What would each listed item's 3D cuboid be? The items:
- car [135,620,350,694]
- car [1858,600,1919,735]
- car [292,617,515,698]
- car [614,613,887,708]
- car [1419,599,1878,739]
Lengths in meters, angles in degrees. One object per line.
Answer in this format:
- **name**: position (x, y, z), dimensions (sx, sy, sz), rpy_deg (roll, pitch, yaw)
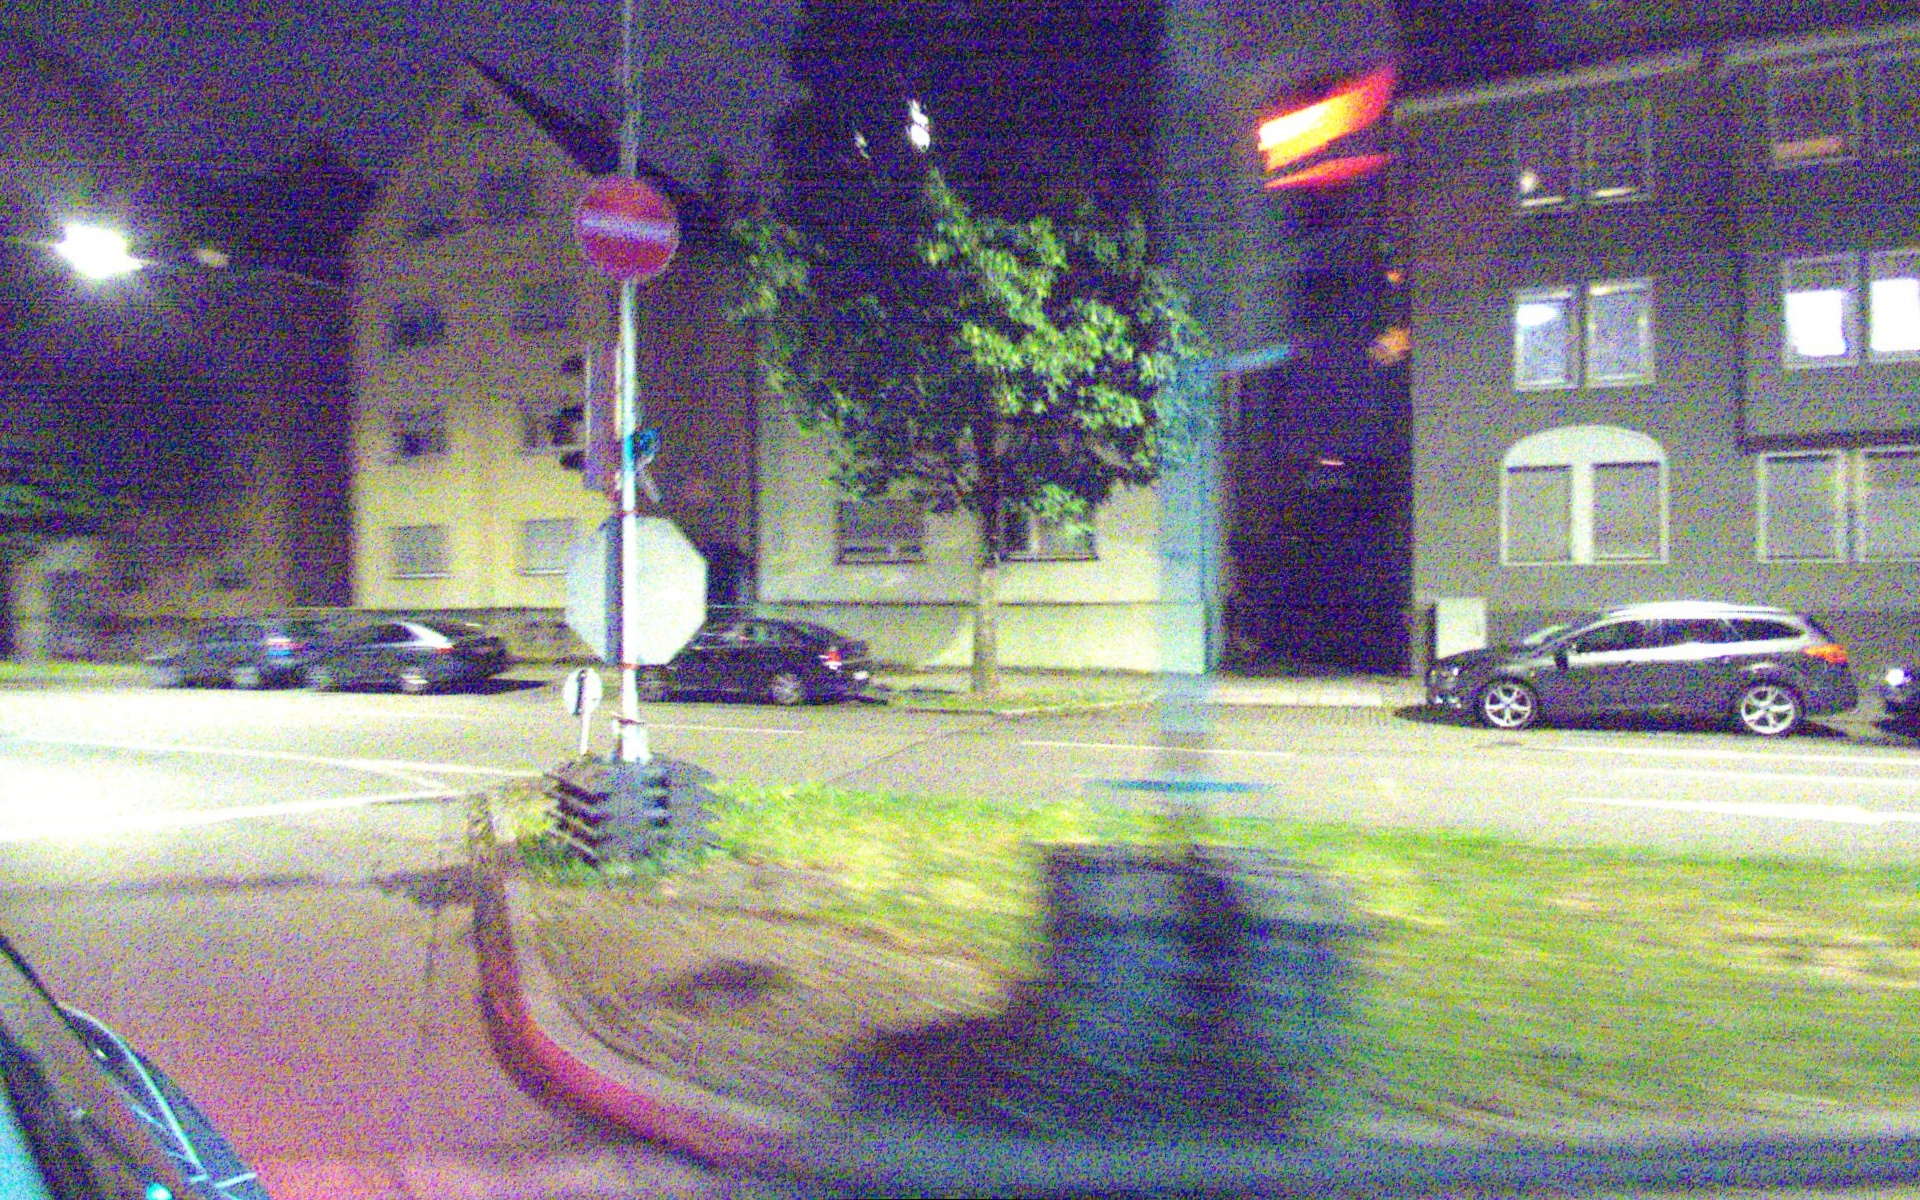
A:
- **car**: position (-15.900, 1.227, 22.441), dimensions (4.314, 1.444, 1.634), rpy_deg (-1, 2, 18)
- **car**: position (12.834, 0.729, 10.828), dimensions (4.413, 1.444, 1.853), rpy_deg (-1, 1, 22)
- **car**: position (-11.342, 1.132, 20.604), dimensions (4.317, 1.444, 1.546), rpy_deg (-1, 2, 21)
- **car**: position (-3.663, 1.003, 17.748), dimensions (4.370, 1.444, 1.855), rpy_deg (-1, 1, 20)
- **car**: position (8.277, 0.779, 12.742), dimensions (4.442, 1.490, 1.853), rpy_deg (-1, 1, 22)
